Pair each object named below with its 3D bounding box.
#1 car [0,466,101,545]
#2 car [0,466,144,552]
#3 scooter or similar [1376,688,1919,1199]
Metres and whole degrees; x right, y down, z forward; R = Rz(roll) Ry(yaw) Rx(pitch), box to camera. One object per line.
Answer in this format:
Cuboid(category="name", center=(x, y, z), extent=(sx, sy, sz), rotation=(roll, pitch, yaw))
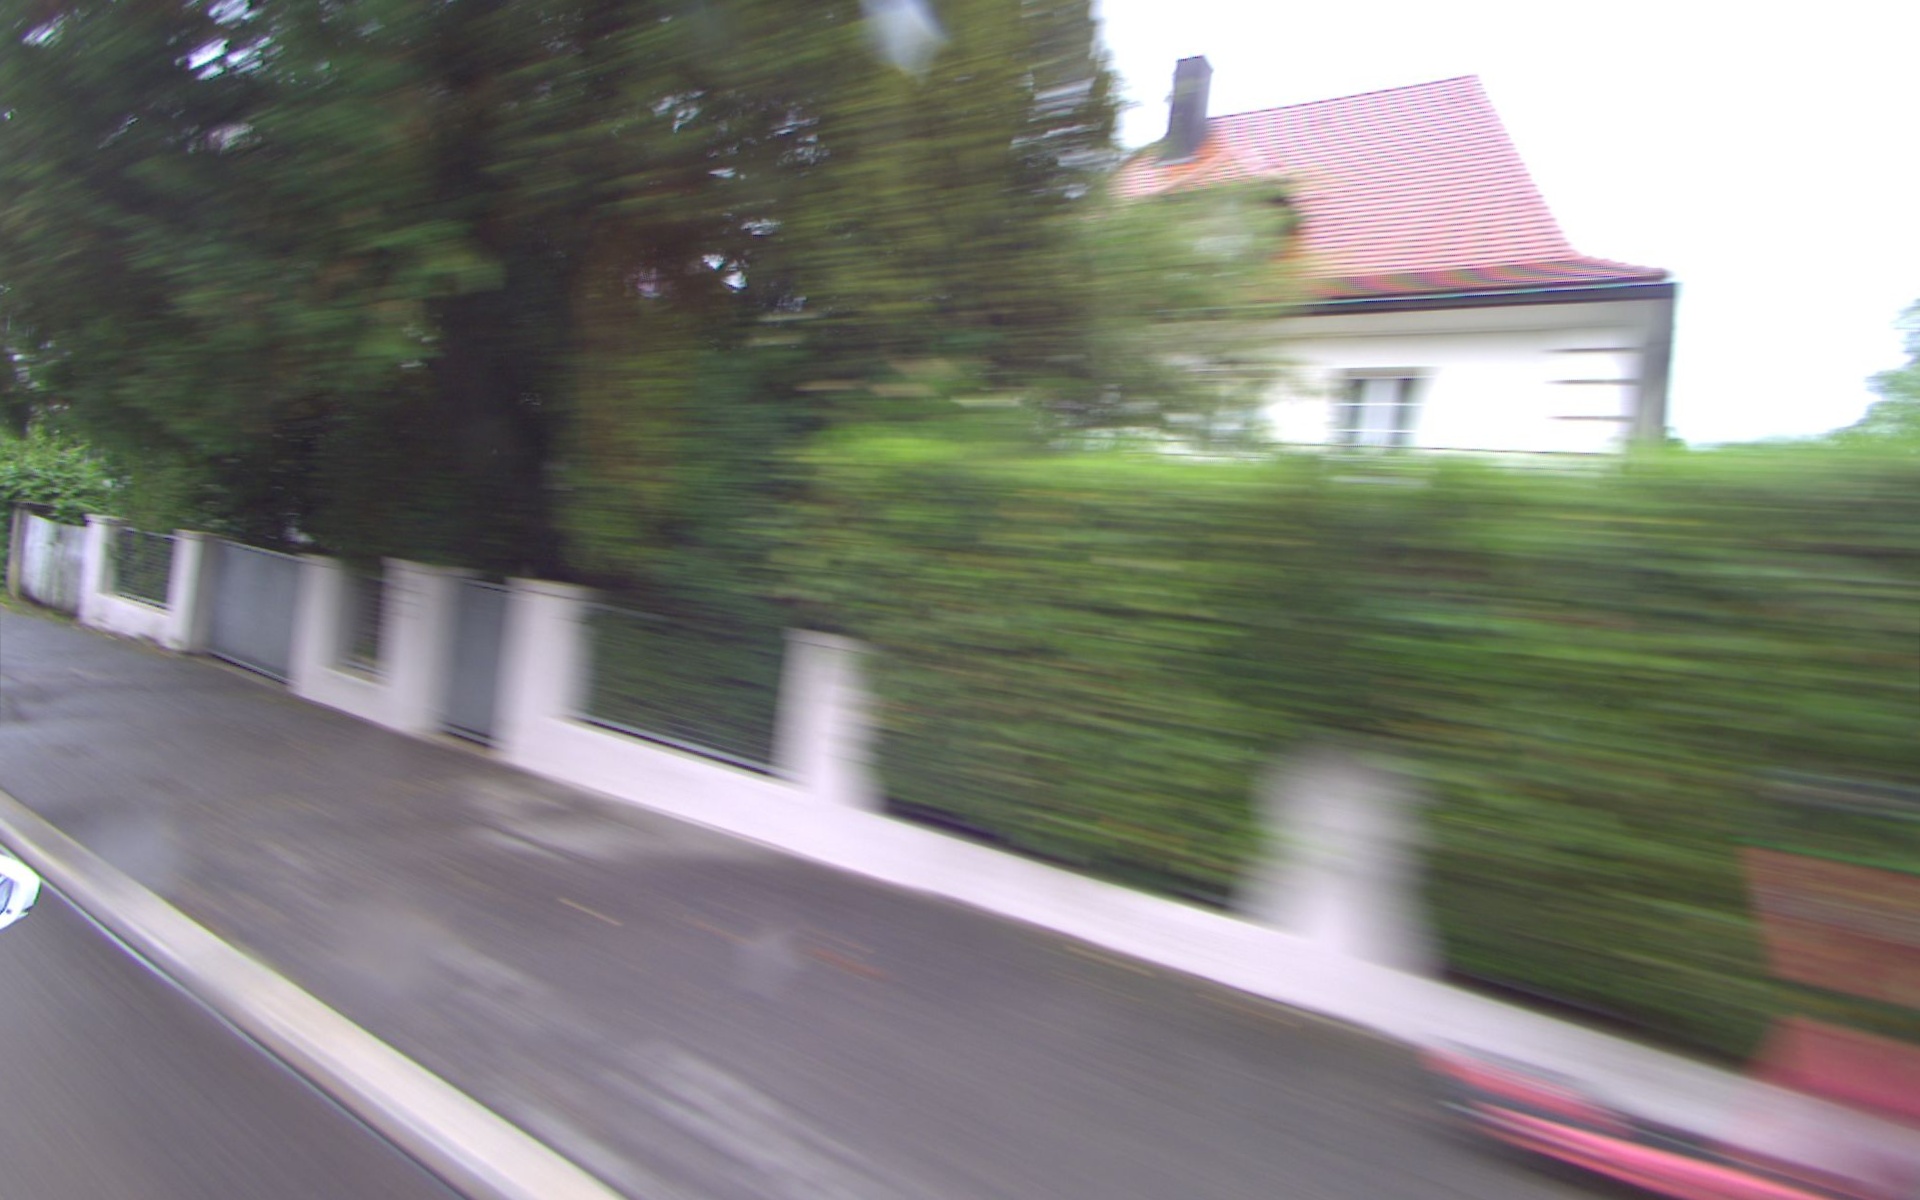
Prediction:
Cuboid(category="car", center=(-26.295, -2.700, 26.938), extent=(1.970, 1.899, 4.656), rotation=(8, 2, 38))
Cuboid(category="car", center=(-23.697, -2.399, 25.213), extent=(1.970, 1.836, 4.656), rotation=(8, 2, 38))
Cuboid(category="scooter or similar", center=(2.007, 1.001, 2.714), extent=(1.457, 1.324, 0.450), rotation=(7, 1, 31))
